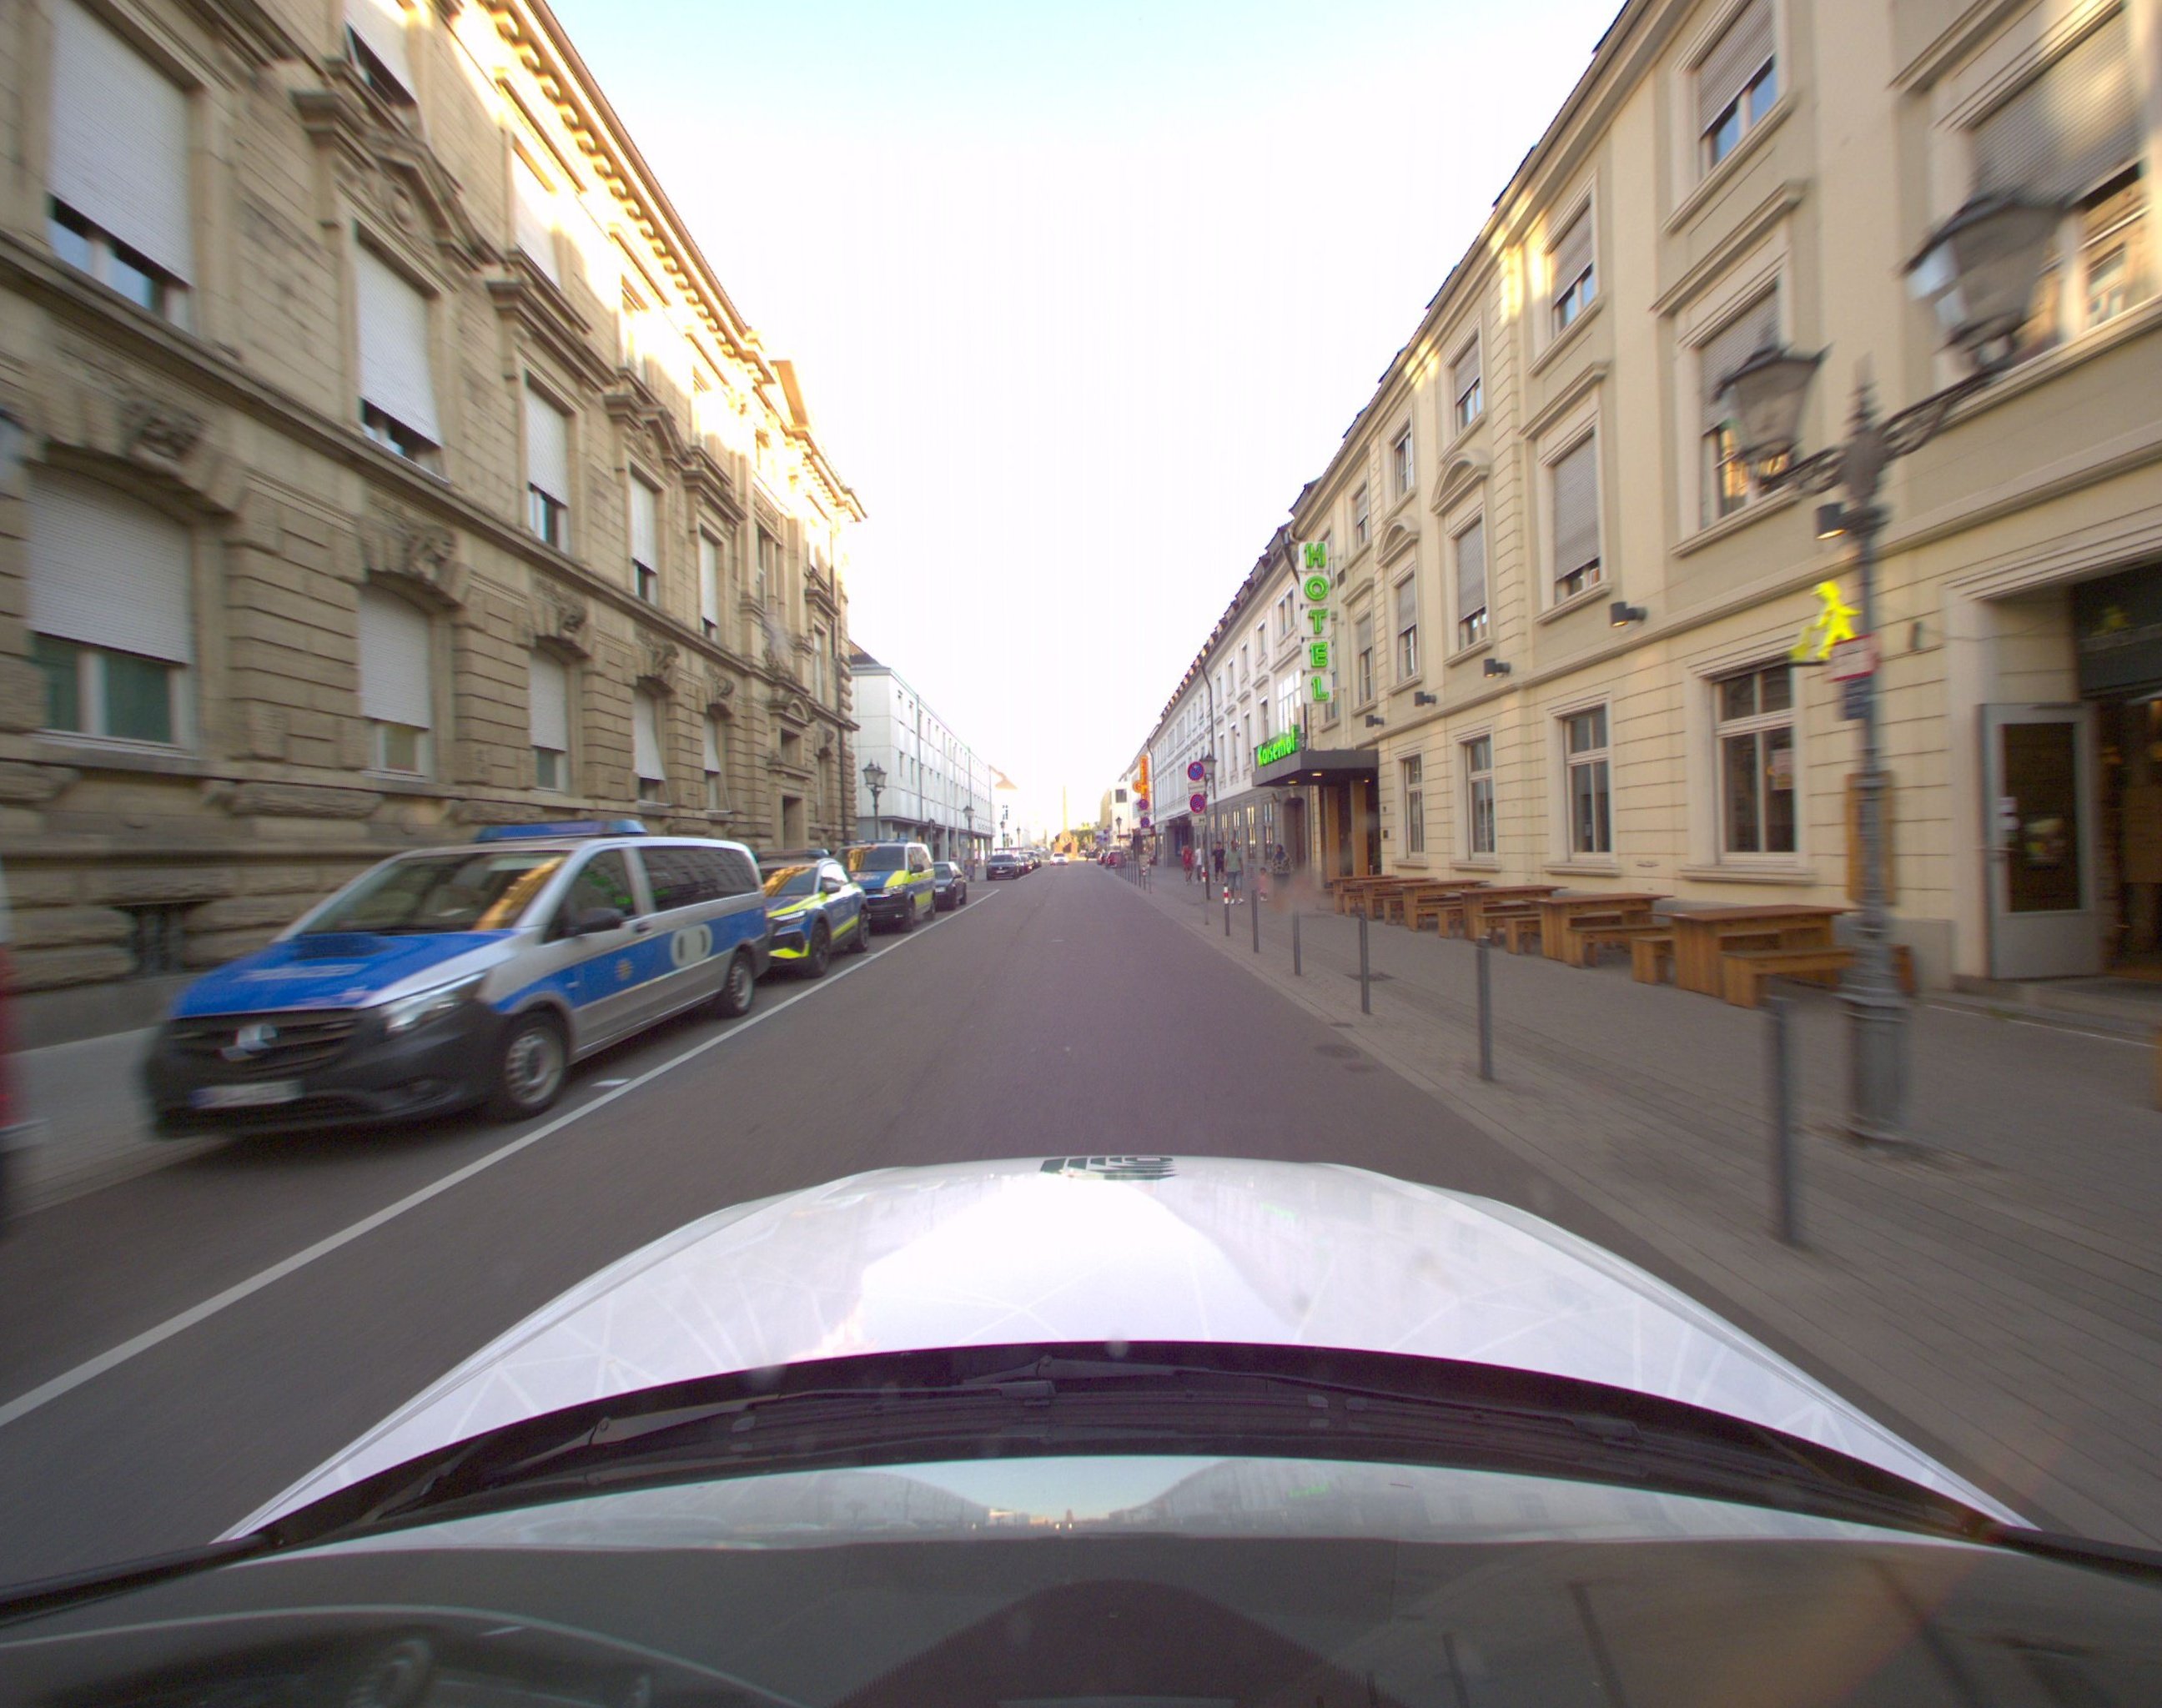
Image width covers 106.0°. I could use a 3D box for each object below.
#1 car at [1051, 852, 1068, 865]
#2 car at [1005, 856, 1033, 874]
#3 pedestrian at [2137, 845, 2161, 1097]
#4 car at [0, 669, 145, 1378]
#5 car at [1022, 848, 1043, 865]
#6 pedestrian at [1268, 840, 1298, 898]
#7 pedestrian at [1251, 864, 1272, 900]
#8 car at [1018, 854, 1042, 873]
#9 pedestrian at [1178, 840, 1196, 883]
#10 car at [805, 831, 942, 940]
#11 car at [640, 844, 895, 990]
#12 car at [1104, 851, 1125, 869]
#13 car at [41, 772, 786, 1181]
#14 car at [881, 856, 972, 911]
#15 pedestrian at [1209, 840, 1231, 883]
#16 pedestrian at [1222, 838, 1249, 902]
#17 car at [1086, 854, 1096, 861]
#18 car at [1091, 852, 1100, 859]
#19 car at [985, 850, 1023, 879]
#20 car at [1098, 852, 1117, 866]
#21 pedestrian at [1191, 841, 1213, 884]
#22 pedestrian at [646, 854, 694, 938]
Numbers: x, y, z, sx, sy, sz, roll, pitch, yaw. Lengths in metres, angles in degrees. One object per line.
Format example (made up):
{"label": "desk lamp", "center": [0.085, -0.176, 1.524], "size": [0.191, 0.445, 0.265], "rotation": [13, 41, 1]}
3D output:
{"label": "car", "center": [-2.528, 0.514, 94.611], "size": [1.779, 1.408, 4.088], "rotation": [-2, 0, 0]}
{"label": "car", "center": [-5.174, 0.905, 68.248], "size": [1.987, 1.354, 3.999], "rotation": [-2, 0, 0]}
{"label": "pedestrian", "center": [6.277, 0.620, 4.228], "size": [0.776, 1.359, 0.720], "rotation": [-2, 0, -17]}
{"label": "car", "center": [-4.201, 0.545, 0.215], "size": [1.989, 2.171, 5.201], "rotation": [-2, 0, -3]}
{"label": "car", "center": [-5.089, 0.234, 85.882], "size": [1.987, 1.662, 3.999], "rotation": [-2, 0, 0]}
{"label": "pedestrian", "center": [5.674, 0.417, 22.879], "size": [0.627, 1.601, 0.615], "rotation": [-2, 0, 0]}
{"label": "pedestrian", "center": [5.115, 0.790, 23.092], "size": [0.458, 0.980, 0.558], "rotation": [-2, 0, 0]}
{"label": "car", "center": [-4.971, 0.912, 79.395], "size": [1.987, 1.728, 4.515], "rotation": [-3, 0, 0]}
{"label": "pedestrian", "center": [4.515, 0.311, 34.654], "size": [0.618, 1.789, 0.913], "rotation": [-2, 0, 1]}
{"label": "car", "center": [-4.560, 0.651, 18.741], "size": [1.989, 2.077, 4.984], "rotation": [-3, 0, -3]}
{"label": "car", "center": [-4.520, 0.796, 12.759], "size": [1.987, 1.752, 4.989], "rotation": [-3, 0, 0]}
{"label": "car", "center": [2.999, 0.531, 73.837], "size": [1.754, 1.523, 3.676], "rotation": [-2, 0, 0]}
{"label": "car", "center": [-4.504, 0.658, 6.951], "size": [1.987, 2.087, 5.206], "rotation": [-3, 0, 0]}
{"label": "car", "center": [-4.719, 0.863, 25.455], "size": [1.987, 1.494, 4.163], "rotation": [-3, 0, 0]}
{"label": "pedestrian", "center": [5.680, 0.304, 33.397], "size": [0.711, 1.730, 0.873], "rotation": [-2, 0, 1]}
{"label": "pedestrian", "center": [4.337, 0.444, 22.881], "size": [0.605, 1.730, 0.558], "rotation": [-2, 0, 0]}
{"label": "car", "center": [2.181, 0.721, 169.319], "size": [1.987, 1.464, 4.000], "rotation": [-2, 0, 1]}
{"label": "car", "center": [3.150, 0.256, 177.810], "size": [1.987, 1.464, 4.000], "rotation": [-2, 0, 1]}
{"label": "car", "center": [-4.648, 0.605, 49.653], "size": [1.779, 1.615, 4.165], "rotation": [-2, 0, 0]}
{"label": "car", "center": [2.836, 0.530, 87.542], "size": [1.796, 1.464, 4.116], "rotation": [-2, 0, 0]}
{"label": "pedestrian", "center": [4.900, 0.338, 33.129], "size": [0.745, 1.730, 0.882], "rotation": [-2, 0, 2]}
{"label": "pedestrian", "center": [-8.836, 0.887, 17.542], "size": [0.605, 1.730, 0.703], "rotation": [-2, 0, 0]}
